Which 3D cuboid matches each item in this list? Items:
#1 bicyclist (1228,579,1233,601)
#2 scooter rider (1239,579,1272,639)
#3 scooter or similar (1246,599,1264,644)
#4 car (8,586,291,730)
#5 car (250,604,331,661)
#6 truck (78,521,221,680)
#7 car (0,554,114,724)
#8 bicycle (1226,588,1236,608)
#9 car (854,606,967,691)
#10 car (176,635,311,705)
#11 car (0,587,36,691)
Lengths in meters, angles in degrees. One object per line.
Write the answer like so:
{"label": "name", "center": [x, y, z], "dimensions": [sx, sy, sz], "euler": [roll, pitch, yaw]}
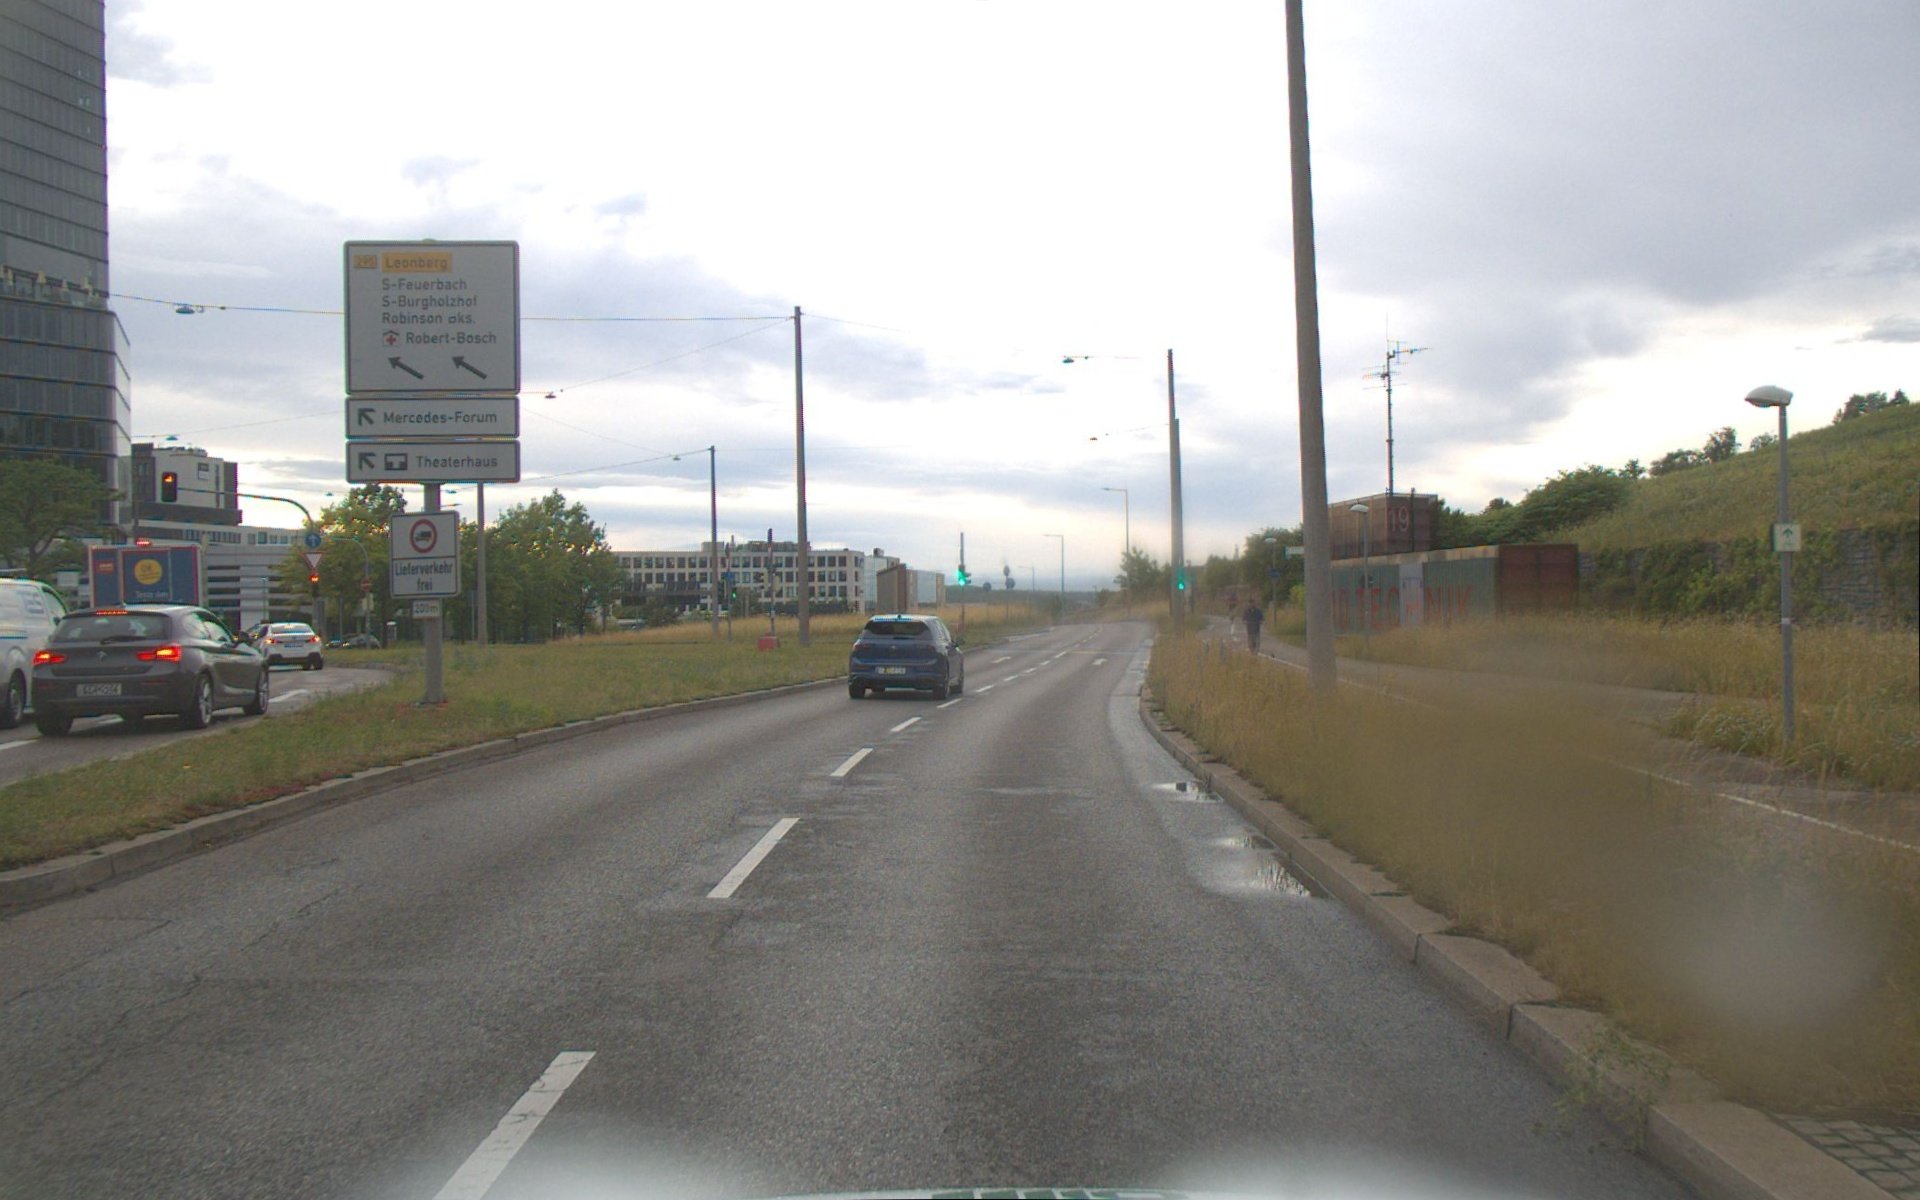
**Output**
{"label": "bicyclist", "center": [14.910, -0.537, 91.049], "dimensions": [0.260, 1.217, 0.315], "euler": [0, 0, 9]}
{"label": "scooter rider", "center": [8.336, 0.248, 46.695], "dimensions": [0.789, 1.657, 0.829], "euler": [-2, -1, 6]}
{"label": "scooter or similar", "center": [8.302, 0.597, 46.506], "dimensions": [0.392, 1.217, 1.115], "euler": [2, 0, 6]}
{"label": "car", "center": [-9.584, 0.604, 19.926], "dimensions": [1.834, 1.487, 3.970], "euler": [-1, 1, -7]}
{"label": "car", "center": [-20.878, 1.033, 51.502], "dimensions": [1.898, 1.672, 4.350], "euler": [-1, -1, -28]}
{"label": "truck", "center": [-18.269, -0.023, 37.602], "dimensions": [2.631, 3.276, 6.500], "euler": [0, 0, -24]}
{"label": "car", "center": [-12.833, 0.500, 21.716], "dimensions": [1.872, 2.007, 5.073], "euler": [-2, 0, -14]}
{"label": "bicycle", "center": [14.925, -0.131, 91.073], "dimensions": [0.539, 1.087, 0.616], "euler": [0, 0, 9]}
{"label": "car", "center": [-0.838, 0.876, 30.142], "dimensions": [1.800, 1.418, 4.000], "euler": [-1, -2, 2]}
{"label": "car", "center": [-23.687, 2.285, 54.703], "dimensions": [3.943, 2.048, 1.872], "euler": [0, 3, -29]}
{"label": "car", "center": [-17.130, 0.665, 27.794], "dimensions": [1.808, 1.711, 4.055], "euler": [2, 1, -16]}
